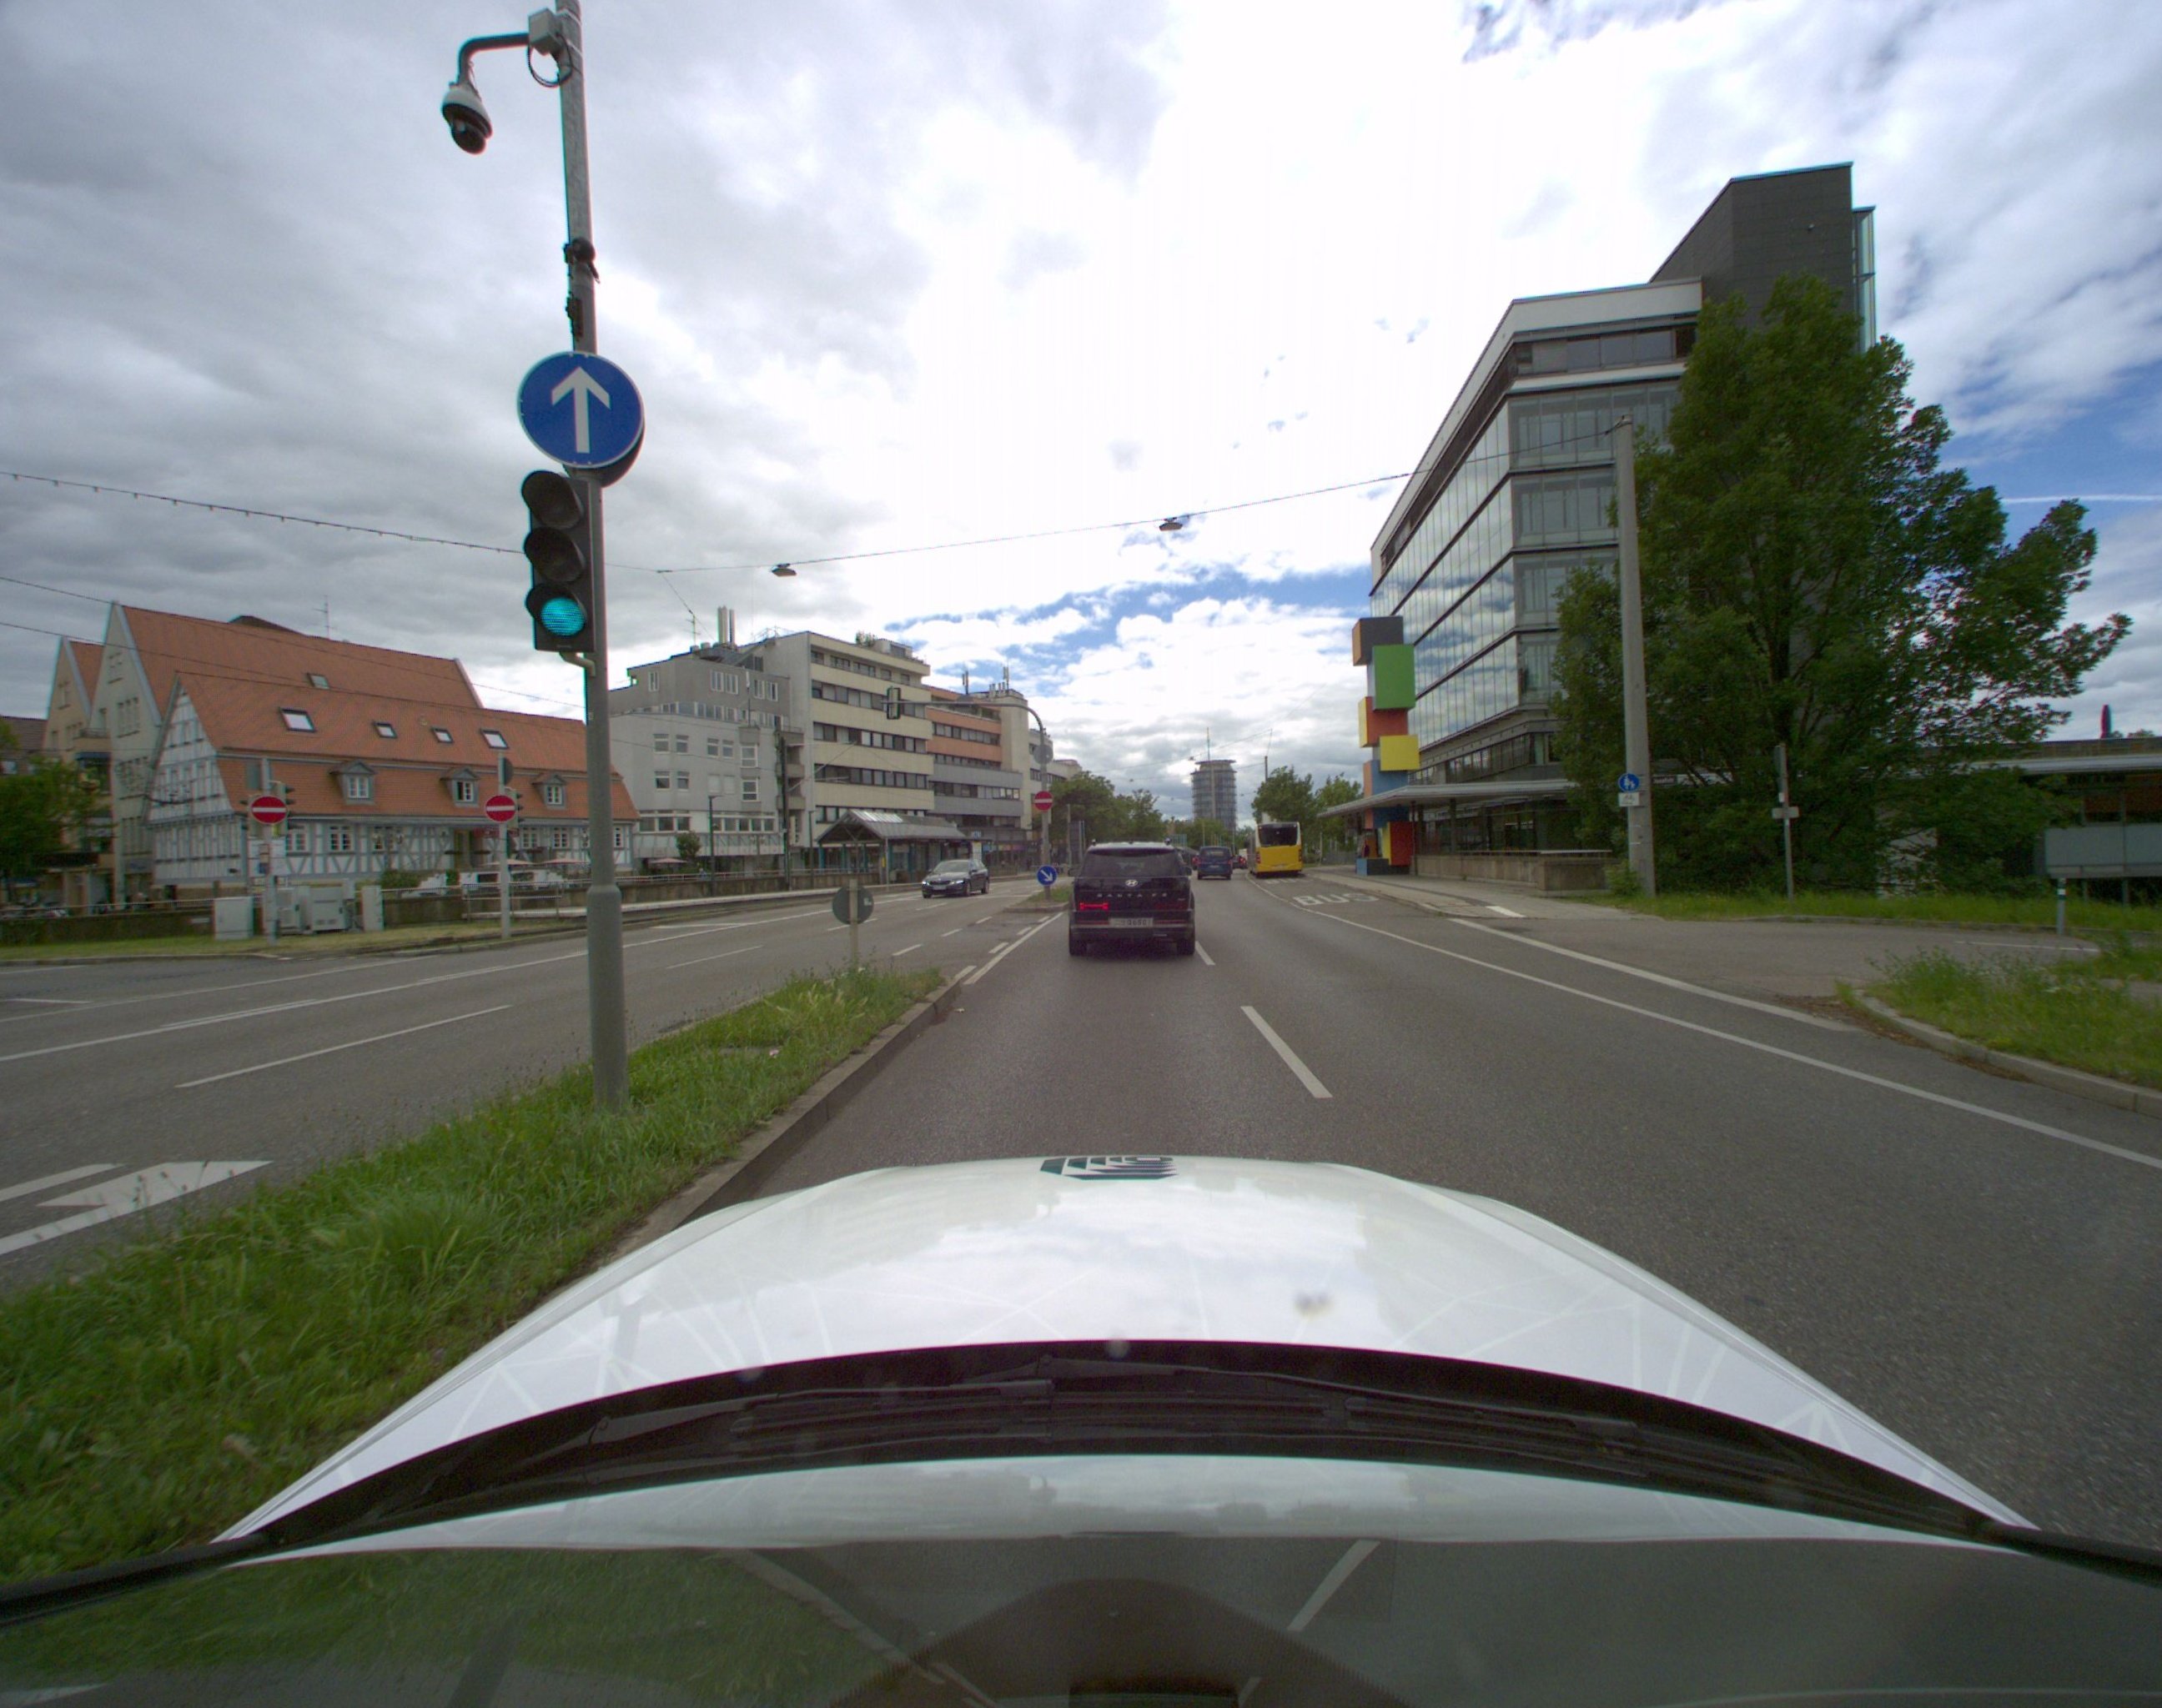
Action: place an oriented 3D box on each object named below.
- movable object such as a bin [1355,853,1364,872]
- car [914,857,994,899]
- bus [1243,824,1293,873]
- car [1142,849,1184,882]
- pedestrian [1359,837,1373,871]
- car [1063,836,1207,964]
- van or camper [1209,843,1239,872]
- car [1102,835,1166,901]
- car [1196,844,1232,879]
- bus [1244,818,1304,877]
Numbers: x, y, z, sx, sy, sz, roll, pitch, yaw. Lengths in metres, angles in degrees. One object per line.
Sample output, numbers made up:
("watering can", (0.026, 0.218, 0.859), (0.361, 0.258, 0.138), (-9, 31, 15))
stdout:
("movable object such as a bin", (14.048, 0.427, 41.077), (0.354, 0.897, 0.463), (-2, -1, 9))
("car", (-4.882, 0.874, 31.956), (1.788, 1.455, 4.623), (-2, 0, 8))
("bus", (13.299, -0.357, 58.592), (2.933, 3.111, 10.005), (-3, -1, 11))
("car", (3.998, 0.524, 40.523), (1.894, 1.542, 4.714), (0, 1, 3))
("pedestrian", (14.547, 0.002, 41.635), (0.521, 1.673, 0.735), (-2, -1, 9))
("car", (0.696, 0.599, 13.437), (1.897, 1.731, 4.442), (0, 1, -3))
("van or camper", (10.372, 0.242, 59.379), (1.982, 1.917, 4.419), (-1, 1, 8))
("car", (1.753, 0.398, 26.680), (1.893, 1.968, 4.642), (0, 1, 4))
("car", (7.645, 0.380, 47.054), (1.892, 1.859, 4.719), (0, 1, 7))
("bus", (11.505, -0.344, 49.220), (2.947, 3.116, 9.271), (-3, -1, 11))
